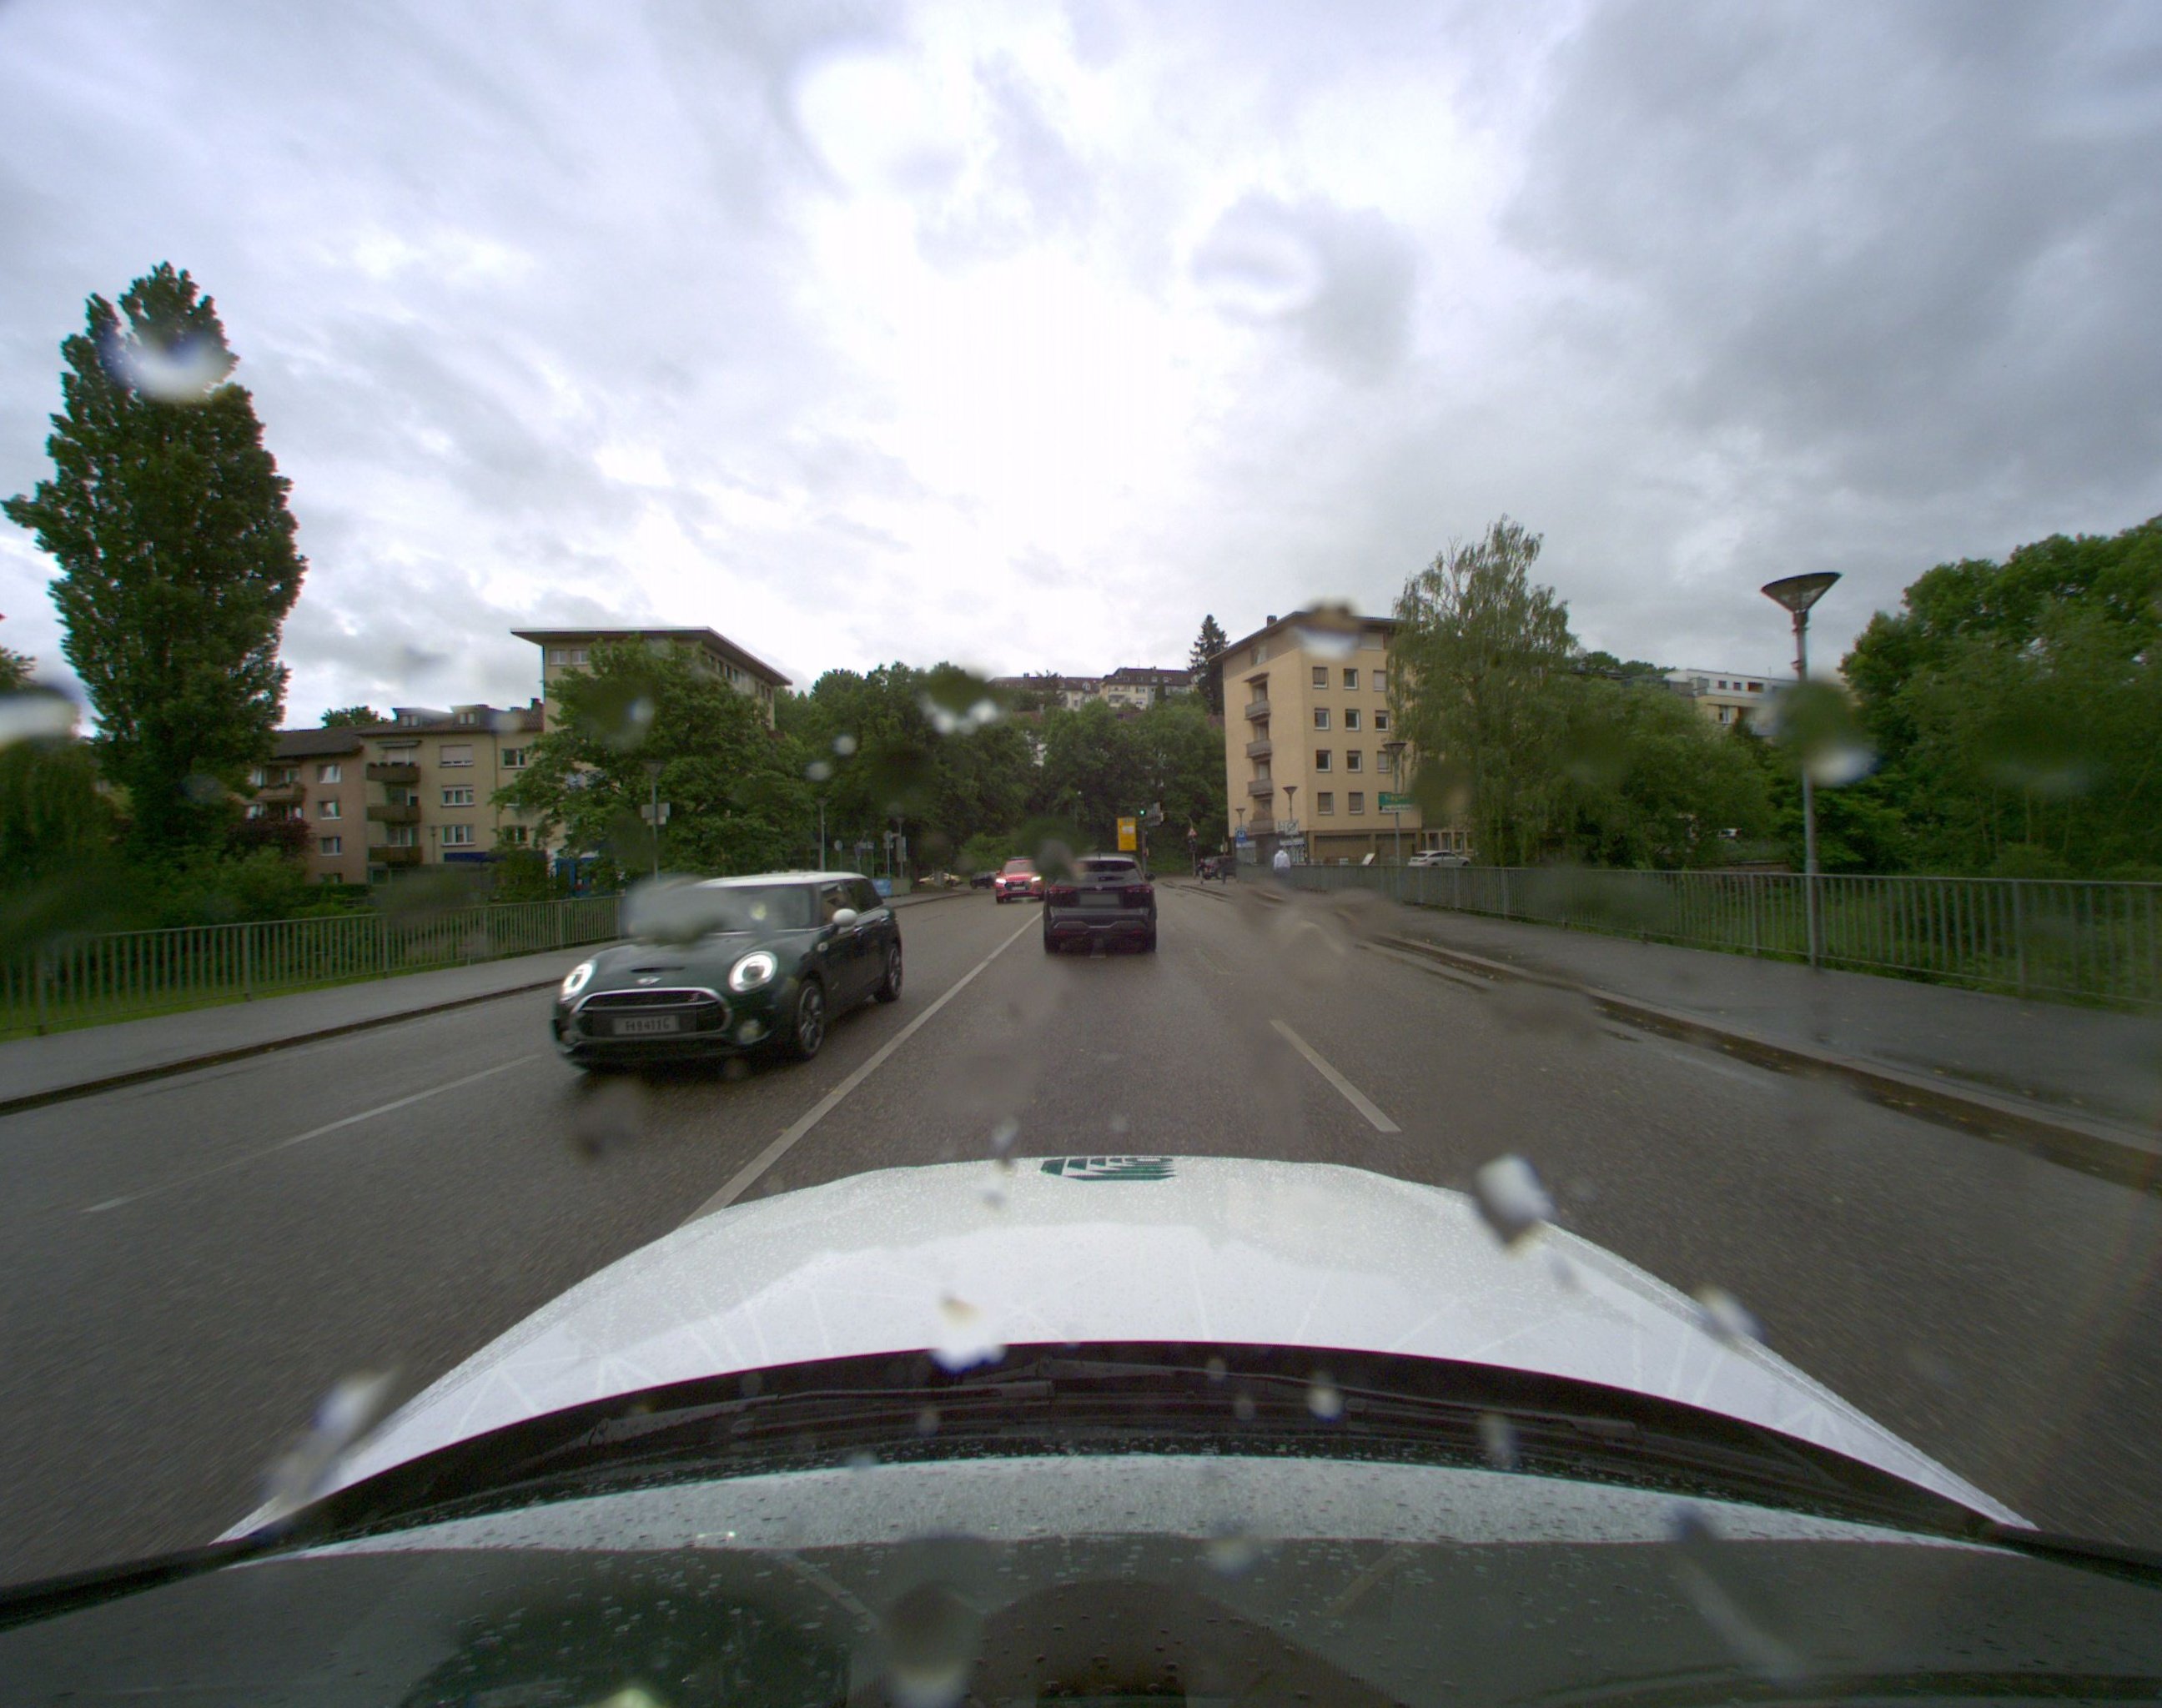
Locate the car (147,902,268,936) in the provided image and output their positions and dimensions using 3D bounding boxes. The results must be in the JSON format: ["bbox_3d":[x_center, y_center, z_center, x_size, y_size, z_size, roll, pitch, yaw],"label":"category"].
[{"bbox_3d":[-53.021,3.932,49.536,4.738,1.653,1.995,-2,1,-8],"label":"car"}]

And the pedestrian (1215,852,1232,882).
[{"bbox_3d":[8.217,0.755,46.996,0.758,1.677,0.781,-4,0,1],"label":"pedestrian"}]

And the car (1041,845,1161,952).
[{"bbox_3d":[0.358,0.694,14.446,1.804,1.603,4.001,-1,-1,1],"label":"car"}]

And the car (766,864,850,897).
[{"bbox_3d":[-17.604,1.704,52.732,4.738,1.854,1.995,-2,1,-8],"label":"car"}]

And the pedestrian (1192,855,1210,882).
[{"bbox_3d":[7.262,0.879,49.317,0.859,1.619,0.840,-3,-1,1],"label":"pedestrian"}]

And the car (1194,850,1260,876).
[{"bbox_3d":[10.773,0.668,60.079,4.388,1.649,1.868,-3,-1,-25],"label":"car"}]

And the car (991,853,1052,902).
[{"bbox_3d":[-2.301,0.877,32.634,1.881,1.735,4.373,-3,0,2],"label":"car"}]

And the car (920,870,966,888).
[{"bbox_3d":[-13.432,2.419,79.279,4.059,1.416,1.718,-4,-1,6],"label":"car"}]

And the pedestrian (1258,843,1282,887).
[{"bbox_3d":[8.026,0.454,34.541,0.758,1.809,0.781,-3,-1,1],"label":"pedestrian"}]

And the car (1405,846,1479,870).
[{"bbox_3d":[24.357,0.256,54.962,4.447,1.376,1.808,-3,2,-15],"label":"car"}]

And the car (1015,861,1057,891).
[{"bbox_3d":[-2.292,1.112,42.738,1.775,1.402,4.220,-3,0,2],"label":"car"}]

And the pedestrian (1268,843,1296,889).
[{"bbox_3d":[7.893,0.458,32.027,0.777,1.752,1.061,-2,-1,1],"label":"pedestrian"}]

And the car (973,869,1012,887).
[{"bbox_3d":[-7.521,2.066,69.047,1.720,1.416,4.054,-3,-1,-30],"label":"car"}]

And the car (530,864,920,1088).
[{"bbox_3d":[-2.880,0.873,7.666,1.739,1.439,4.002,-3,0,2],"label":"car"}]

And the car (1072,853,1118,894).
[{"bbox_3d":[0.591,0.787,34.261,1.804,1.603,4.001,-1,0,1],"label":"car"}]
